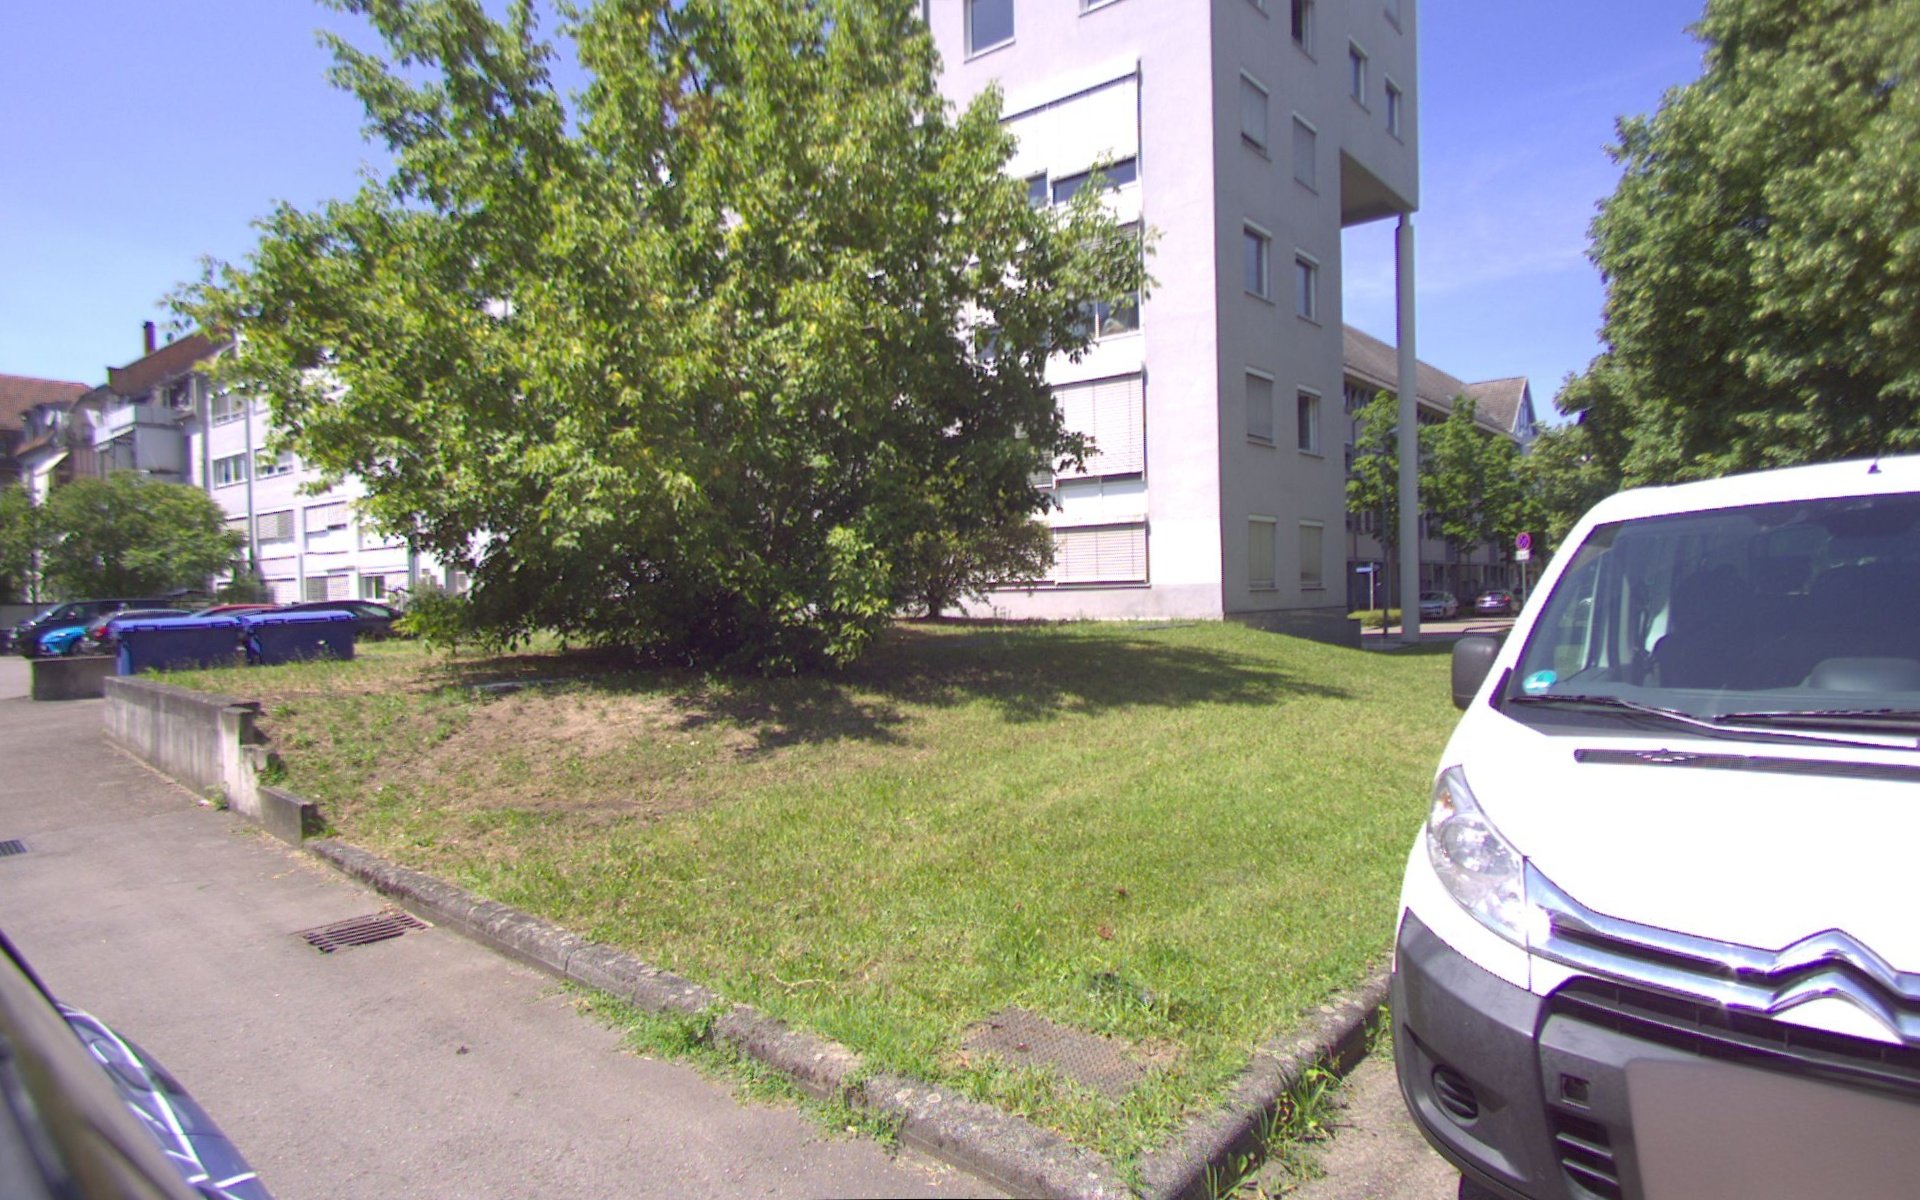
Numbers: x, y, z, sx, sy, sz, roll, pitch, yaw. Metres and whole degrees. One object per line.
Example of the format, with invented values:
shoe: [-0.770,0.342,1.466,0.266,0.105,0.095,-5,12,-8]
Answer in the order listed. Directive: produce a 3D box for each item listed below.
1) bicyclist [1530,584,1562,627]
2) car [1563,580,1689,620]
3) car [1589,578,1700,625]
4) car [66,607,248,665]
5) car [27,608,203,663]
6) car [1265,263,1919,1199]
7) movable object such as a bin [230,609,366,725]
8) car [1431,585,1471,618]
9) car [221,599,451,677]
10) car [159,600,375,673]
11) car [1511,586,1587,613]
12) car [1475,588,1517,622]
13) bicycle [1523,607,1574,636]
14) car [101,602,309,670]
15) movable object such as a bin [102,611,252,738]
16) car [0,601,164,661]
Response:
bicyclist: [14.566,0.139,25.149,0.518,1.053,0.515,-5,-3,44]
car: [28.443,-0.023,43.296,4.338,1.622,1.908,0,1,40]
car: [31.046,0.049,45.967,3.997,2.029,1.973,0,1,40]
car: [-24.963,1.060,31.594,1.610,1.580,4.173,0,1,36]
car: [-27.623,1.096,33.206,1.610,1.580,4.173,0,1,36]
car: [3.100,0.392,3.284,2.068,1.897,4.793,0,1,44]
movable object such as a bin: [-8.698,0.831,13.306,1.095,1.399,1.254,0,1,42]
car: [25.746,0.044,53.013,1.799,1.615,3.859,0,1,27]
car: [-14.717,0.822,24.117,1.610,1.580,4.392,0,1,36]
car: [-17.232,0.842,25.362,1.610,1.580,4.173,0,1,36]
car: [36.994,-0.024,63.607,3.891,1.643,1.514,0,1,40]
car: [26.986,0.214,51.030,1.799,1.615,3.859,0,1,27]
bicycle: [14.713,0.531,25.287,0.734,0.646,1.593,-4,-2,43]
car: [-20.104,0.894,27.106,1.610,1.580,4.173,0,1,36]
movable object such as a bin: [-9.534,0.857,12.333,1.095,1.399,1.254,0,1,42]
car: [-30.201,0.984,34.729,2.006,1.837,4.173,0,1,37]
